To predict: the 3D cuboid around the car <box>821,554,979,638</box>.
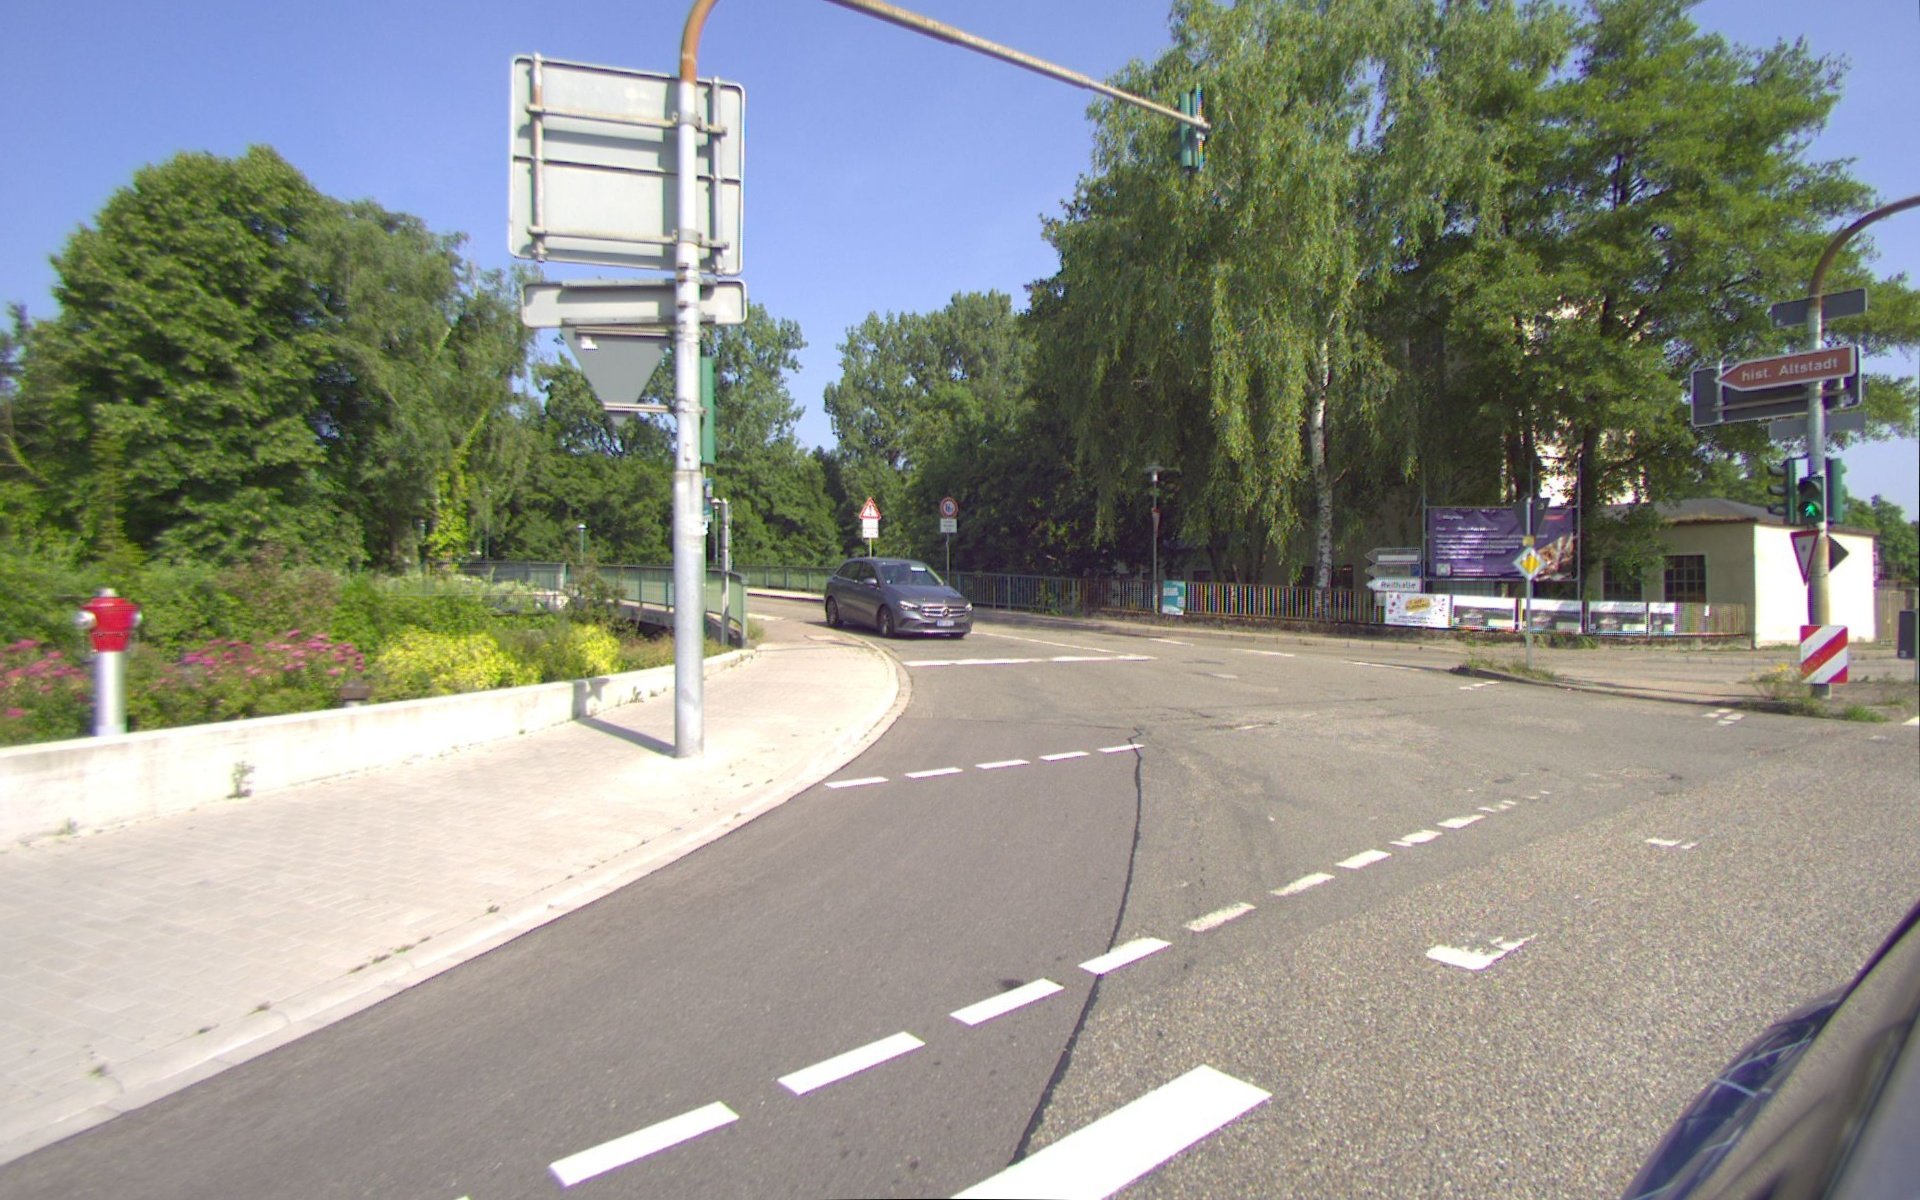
[{"bbox_3d":[-1.343,-0.168,20.814,1.634,1.536,4.091,0,3,-29],"label":"car"}]
